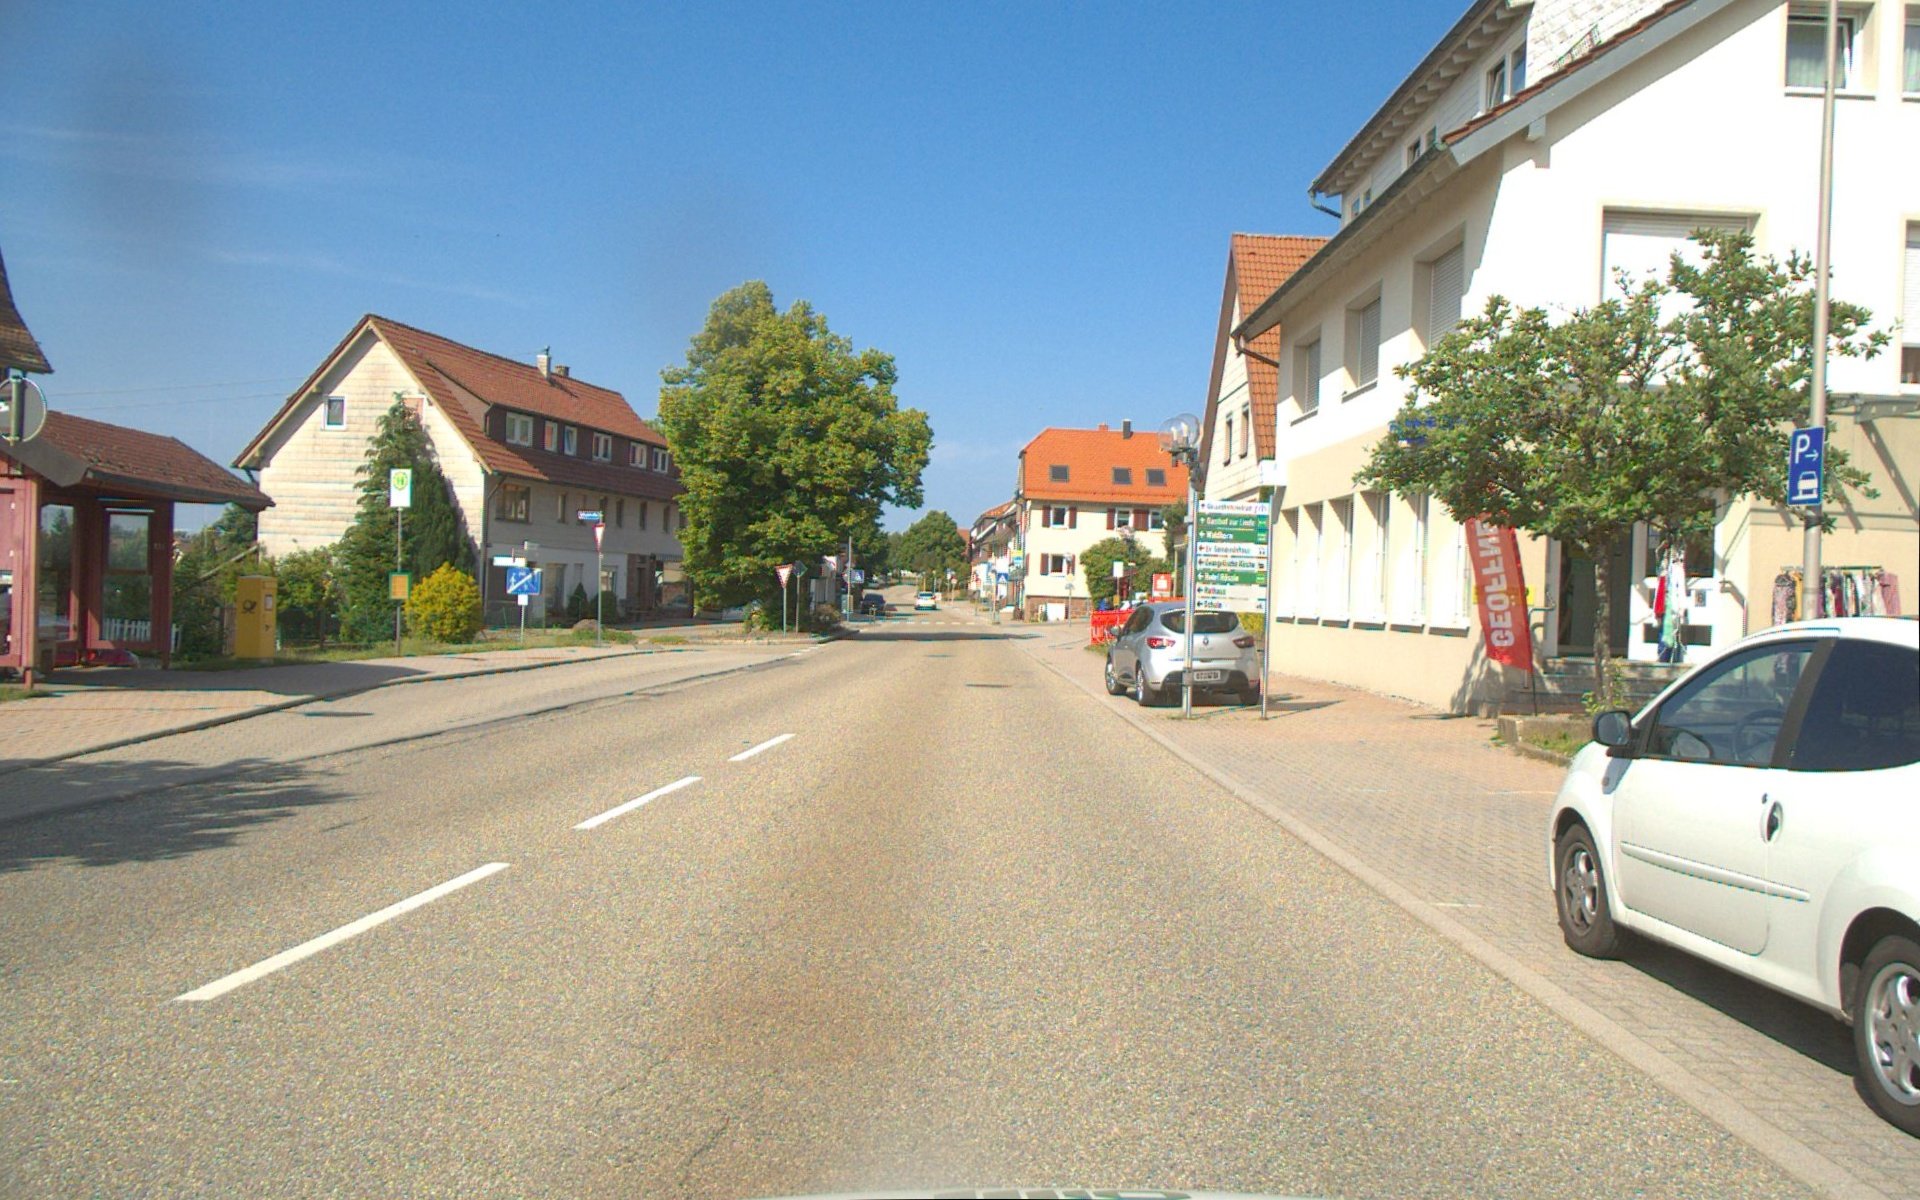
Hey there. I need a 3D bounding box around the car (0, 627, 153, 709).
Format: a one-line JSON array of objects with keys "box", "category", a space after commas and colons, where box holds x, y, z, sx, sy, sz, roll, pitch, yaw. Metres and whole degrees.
[{"box": [-16.770, 1.204, 29.976, 1.684, 1.320, 4.003, -1, 0, 14], "category": "car"}]

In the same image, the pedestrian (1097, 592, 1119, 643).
[{"box": [5.307, 0.629, 59.365, 0.782, 1.815, 0.980, 0, 0, 4], "category": "pedestrian"}]

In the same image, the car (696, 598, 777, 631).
[{"box": [-11.428, 0.740, 84.621, 3.679, 1.480, 1.819, -1, -5, 11], "category": "car"}]

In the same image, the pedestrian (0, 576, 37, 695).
[{"box": [-11.440, 0.414, 19.584, 0.605, 1.388, 0.674, -1, 1, -2], "category": "pedestrian"}]

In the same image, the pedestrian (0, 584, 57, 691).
[{"box": [-11.436, 0.453, 20.154, 0.616, 1.275, 0.423, -1, 0, -3], "category": "pedestrian"}]

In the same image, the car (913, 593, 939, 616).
[{"box": [-3.327, 0.431, 159.884, 2.445, 2.049, 4.303, -1, 0, -2], "category": "car"}]

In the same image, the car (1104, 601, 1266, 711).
[{"box": [3.236, 0.762, 24.426, 1.603, 1.444, 3.932, -1, 0, -4], "category": "car"}]

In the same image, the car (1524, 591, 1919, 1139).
[{"box": [3.486, 0.701, 6.029, 1.723, 1.448, 3.635, -1, 0, 2], "category": "car"}]

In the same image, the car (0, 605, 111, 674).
[{"box": [-22.662, 0.888, 39.201, 4.210, 1.538, 1.801, 2, -2, 9], "category": "car"}]

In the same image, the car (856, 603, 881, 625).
[{"box": [-7.215, 1.106, 130.545, 1.639, 1.559, 3.535, 5, 0, -1], "category": "car"}]

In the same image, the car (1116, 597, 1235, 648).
[{"box": [7.199, 0.734, 55.153, 3.779, 1.585, 1.965, 1, 0, 12], "category": "car"}]
